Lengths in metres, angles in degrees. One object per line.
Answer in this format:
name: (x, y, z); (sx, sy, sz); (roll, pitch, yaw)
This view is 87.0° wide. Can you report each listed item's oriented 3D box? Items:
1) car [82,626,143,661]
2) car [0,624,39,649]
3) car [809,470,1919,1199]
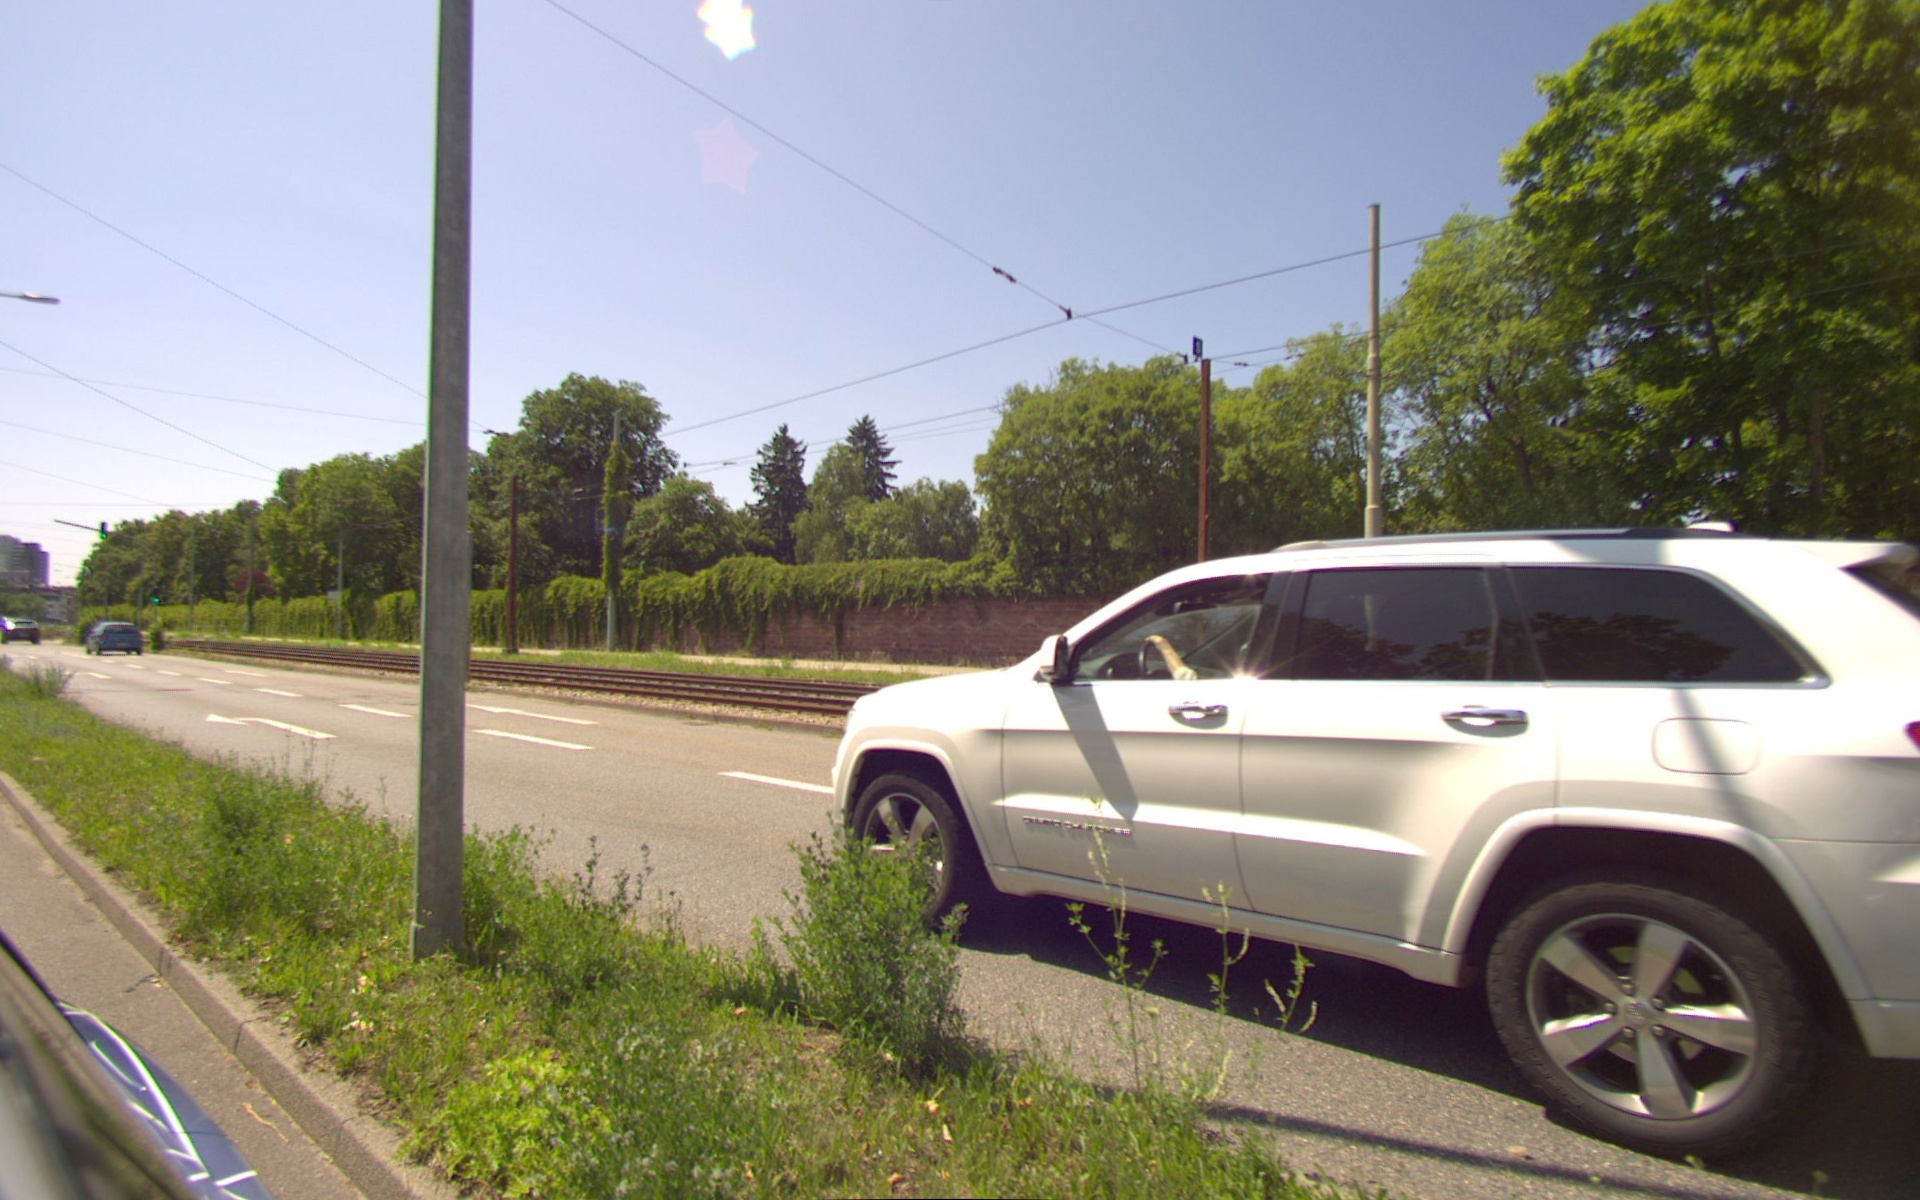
car: (-38.144, 1.946, 45.532); (3.791, 1.482, 1.675); (-2, -4, 44)
car: (-60.393, 2.355, 64.695); (4.095, 1.532, 1.742); (-2, -4, 42)
car: (1.592, 0.641, 4.210); (4.585, 1.762, 1.880); (-2, -3, 41)
